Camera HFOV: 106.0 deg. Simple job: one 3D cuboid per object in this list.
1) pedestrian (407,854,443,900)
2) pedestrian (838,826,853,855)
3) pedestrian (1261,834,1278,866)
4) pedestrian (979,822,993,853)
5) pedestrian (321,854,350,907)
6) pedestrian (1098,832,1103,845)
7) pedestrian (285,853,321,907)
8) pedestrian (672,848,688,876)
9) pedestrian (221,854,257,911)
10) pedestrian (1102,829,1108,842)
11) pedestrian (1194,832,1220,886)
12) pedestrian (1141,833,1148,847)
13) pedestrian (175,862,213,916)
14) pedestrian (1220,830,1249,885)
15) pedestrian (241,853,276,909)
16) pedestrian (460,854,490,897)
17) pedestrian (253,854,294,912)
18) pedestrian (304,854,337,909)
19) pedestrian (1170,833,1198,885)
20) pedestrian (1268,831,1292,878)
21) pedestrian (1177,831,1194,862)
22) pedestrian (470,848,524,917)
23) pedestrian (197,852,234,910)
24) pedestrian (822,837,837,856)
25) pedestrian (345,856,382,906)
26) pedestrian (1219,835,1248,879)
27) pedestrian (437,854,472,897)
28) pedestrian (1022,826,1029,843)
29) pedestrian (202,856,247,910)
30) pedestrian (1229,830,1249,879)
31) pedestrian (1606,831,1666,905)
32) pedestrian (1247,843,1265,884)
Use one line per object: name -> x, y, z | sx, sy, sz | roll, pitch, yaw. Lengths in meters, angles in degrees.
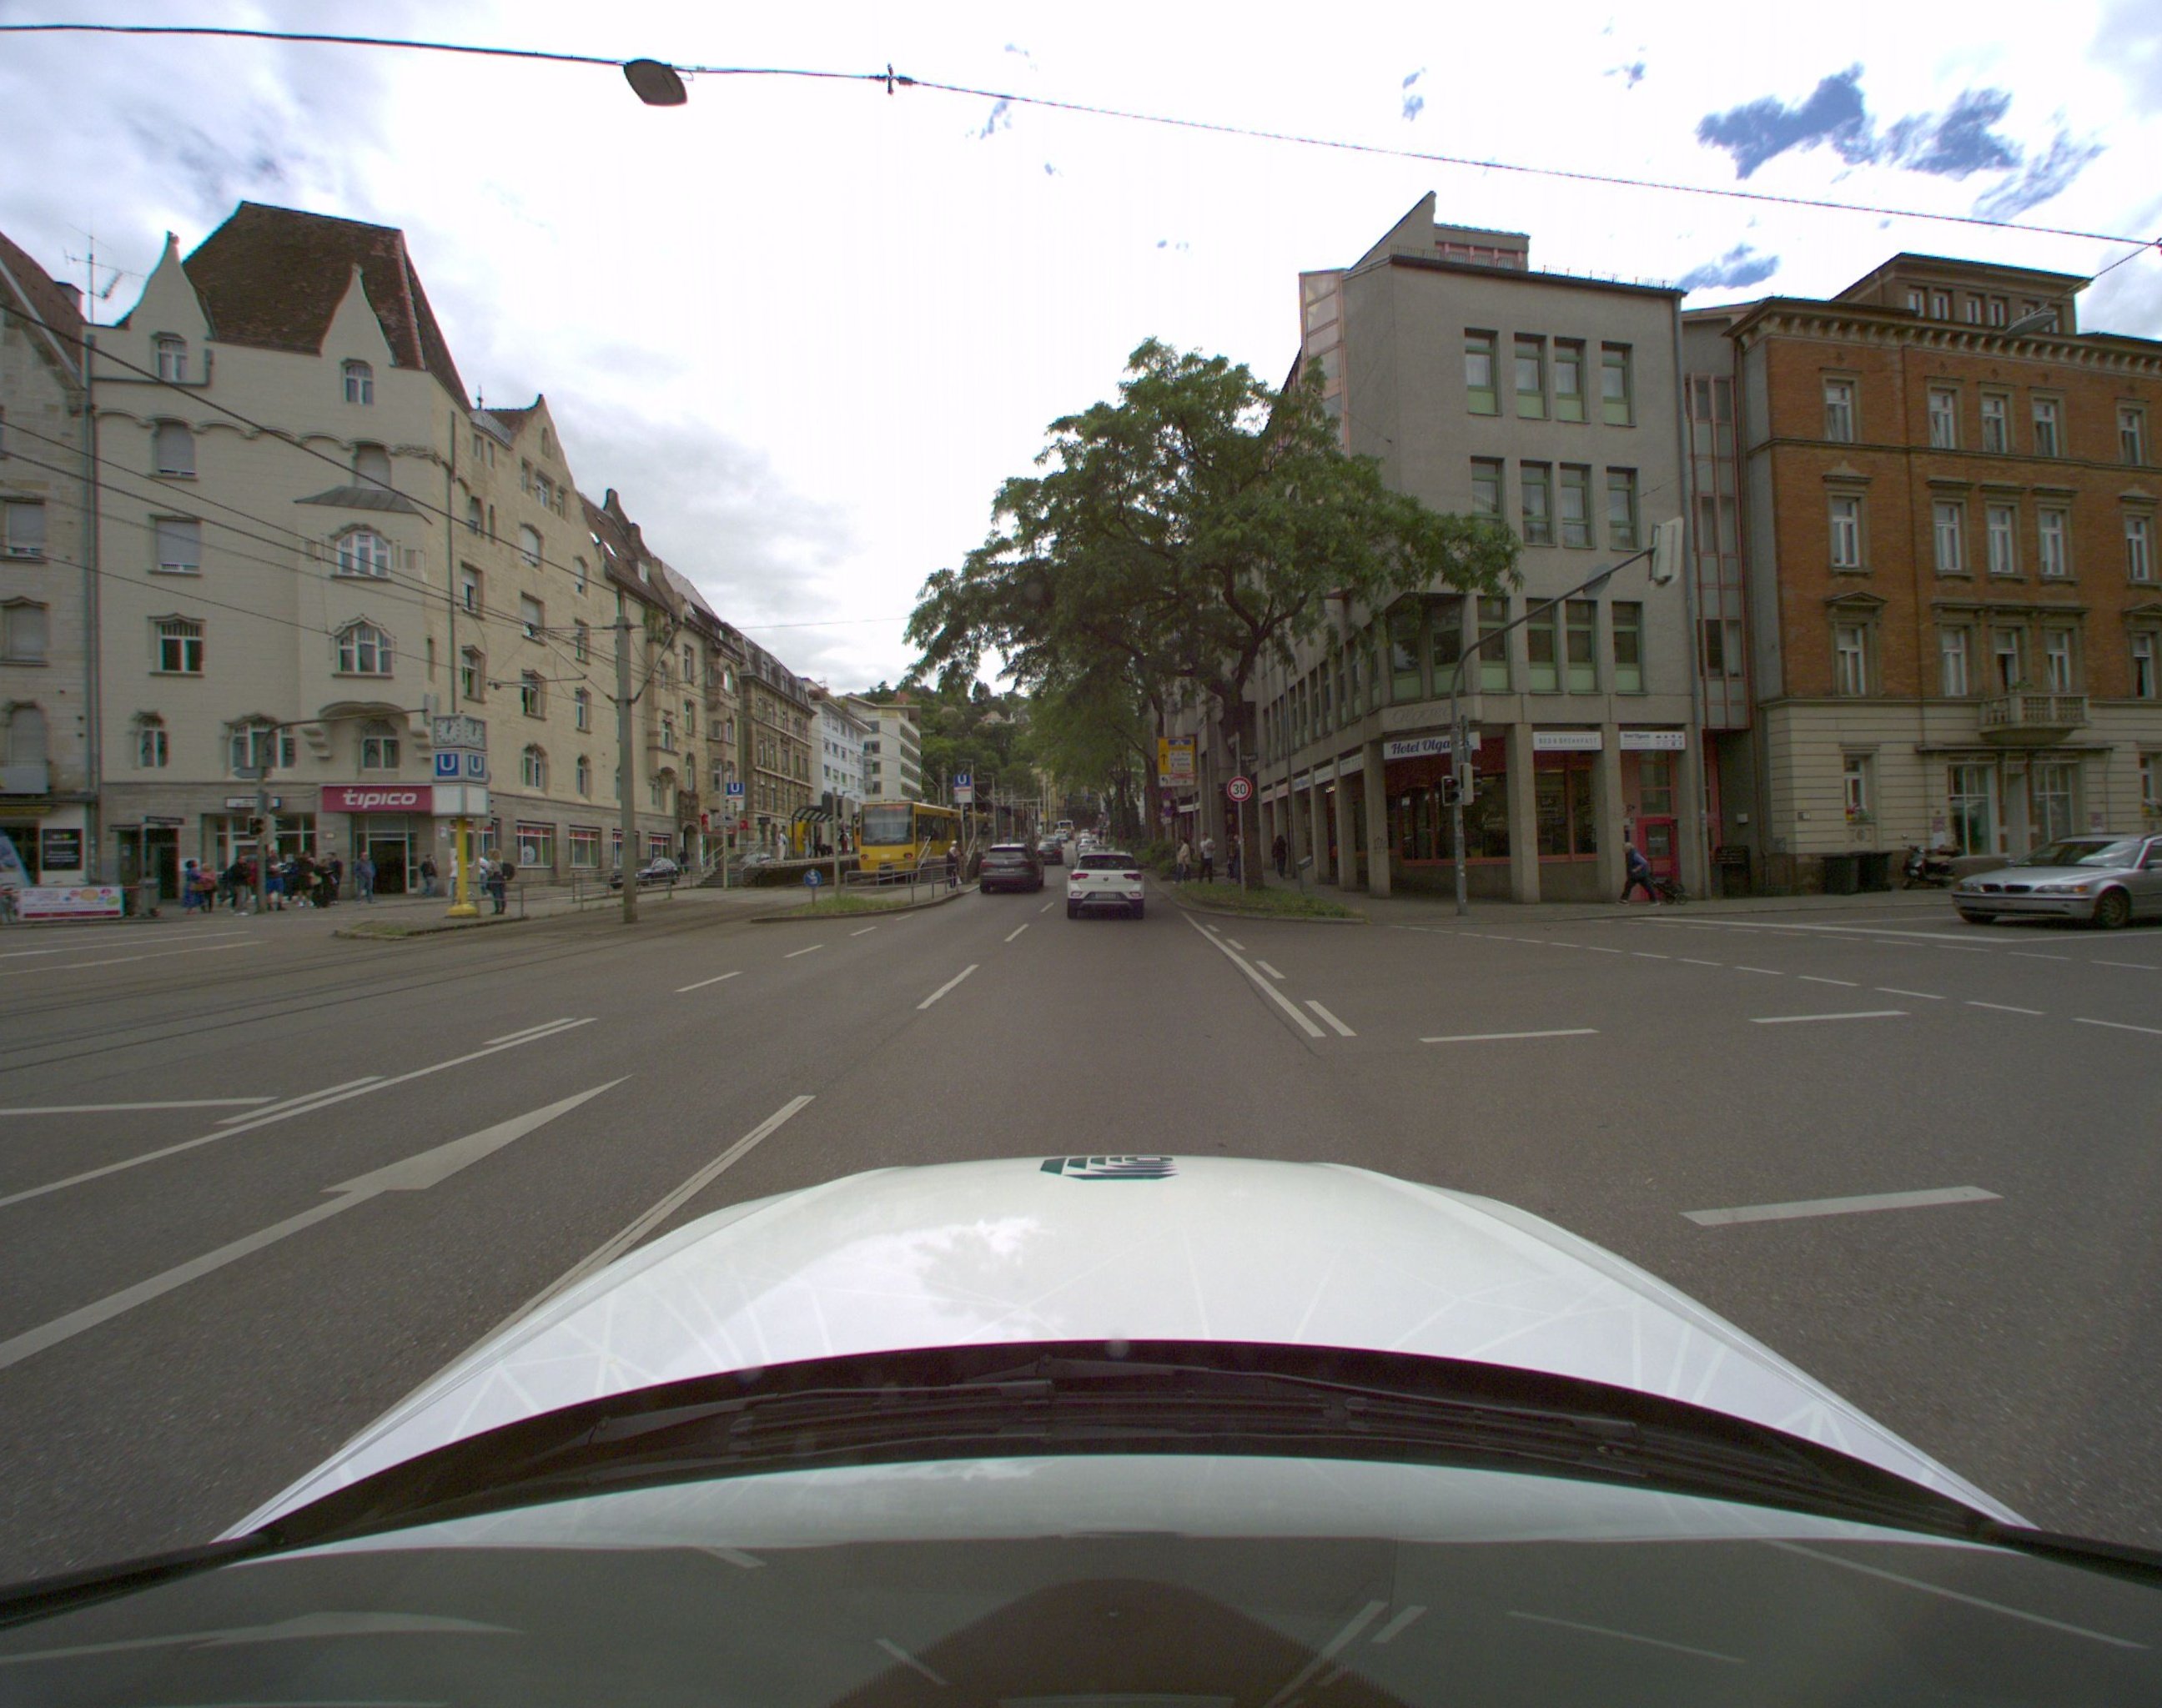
pedestrian -> -24.837, 0.870, 30.854 | 0.778, 1.705, 0.654 | -1, 0, 5
pedestrian -> -14.169, -0.809, 48.980 | 0.624, 1.762, 0.847 | -1, 0, 1
pedestrian -> 10.398, -0.208, 44.941 | 0.759, 1.723, 0.677 | -2, 1, 2
pedestrian -> -5.404, -0.932, 46.467 | 0.715, 1.730, 0.671 | 0, 0, 1
pedestrian -> -25.539, 0.907, 27.888 | 0.505, 1.780, 0.580 | -1, 0, 30
pedestrian -> 3.067, -2.393, 127.826 | 0.758, 2.013, 0.839 | 0, 0, 5
pedestrian -> -26.312, 0.883, 27.540 | 0.780, 1.780, 0.672 | -1, 0, 30
pedestrian -> -25.187, 0.495, 51.130 | 0.632, 1.762, 0.836 | -1, 0, -43
pedestrian -> -26.854, 0.899, 25.969 | 0.507, 1.780, 0.578 | -1, 0, 6
pedestrian -> 3.551, -2.708, 119.562 | 0.758, 2.013, 0.839 | 0, 0, 5
pedestrian -> 4.507, 0.173, 29.096 | 0.732, 1.874, 0.732 | -1, 0, -5
pedestrian -> 6.990, -1.536, 89.842 | 0.638, 1.608, 0.583 | 0, 0, -21
pedestrian -> -26.949, 1.053, 24.746 | 0.573, 1.582, 0.512 | -1, 0, 2
pedestrian -> 5.304, 0.111, 28.112 | 0.720, 1.802, 0.833 | -4, 3, -4
pedestrian -> -26.837, 0.875, 26.589 | 0.508, 1.780, 0.577 | -1, 0, 2
pedestrian -> -24.157, 0.851, 32.492 | 0.600, 1.705, 0.711 | -1, 0, 5
pedestrian -> -25.359, 0.904, 25.578 | 0.704, 1.780, 0.598 | -1, 0, 16
pedestrian -> -24.700, 0.889, 26.451 | 0.506, 1.780, 0.579 | -1, 0, 14
pedestrian -> 3.697, 0.181, 29.278 | 0.692, 1.777, 0.688 | -6, 0, -4
pedestrian -> 7.169, 0.011, 29.306 | 0.757, 1.611, 0.620 | -2, 3, 11
pedestrian -> 6.200, -0.437, 48.322 | 0.761, 1.782, 0.847 | -3, 3, -5
pedestrian -> -15.037, 0.722, 20.972 | 0.866, 1.705, 0.817 | -1, 0, 29
pedestrian -> -26.907, 0.840, 25.315 | 0.572, 1.780, 0.512 | -1, 0, 5
pedestrian -> -14.840, -0.426, 47.990 | 0.633, 1.107, 0.690 | -1, 1, -1
pedestrian -> -24.810, 0.923, 28.157 | 0.668, 1.677, 0.694 | -1, 0, 17
pedestrian -> 5.555, 0.117, 29.702 | 0.834, 1.563, 0.763 | 0, 0, -5
pedestrian -> -24.990, 0.851, 32.498 | 0.778, 1.705, 0.724 | -1, 0, 5
pedestrian -> -6.629, -2.271, 96.648 | 0.761, 2.013, 0.836 | 0, 0, -7
pedestrian -> -28.812, 0.952, 27.411 | 0.571, 1.780, 0.822 | -1, 0, 10
pedestrian -> 5.873, 0.028, 30.260 | 0.517, 1.789, 0.763 | 0, 0, -4
pedestrian -> 13.172, 0.324, 19.341 | 1.111, 1.712, 0.861 | -1, 0, 34
pedestrian -> 5.815, 0.320, 27.068 | 0.470, 1.333, 0.519 | 0, 0, -4
